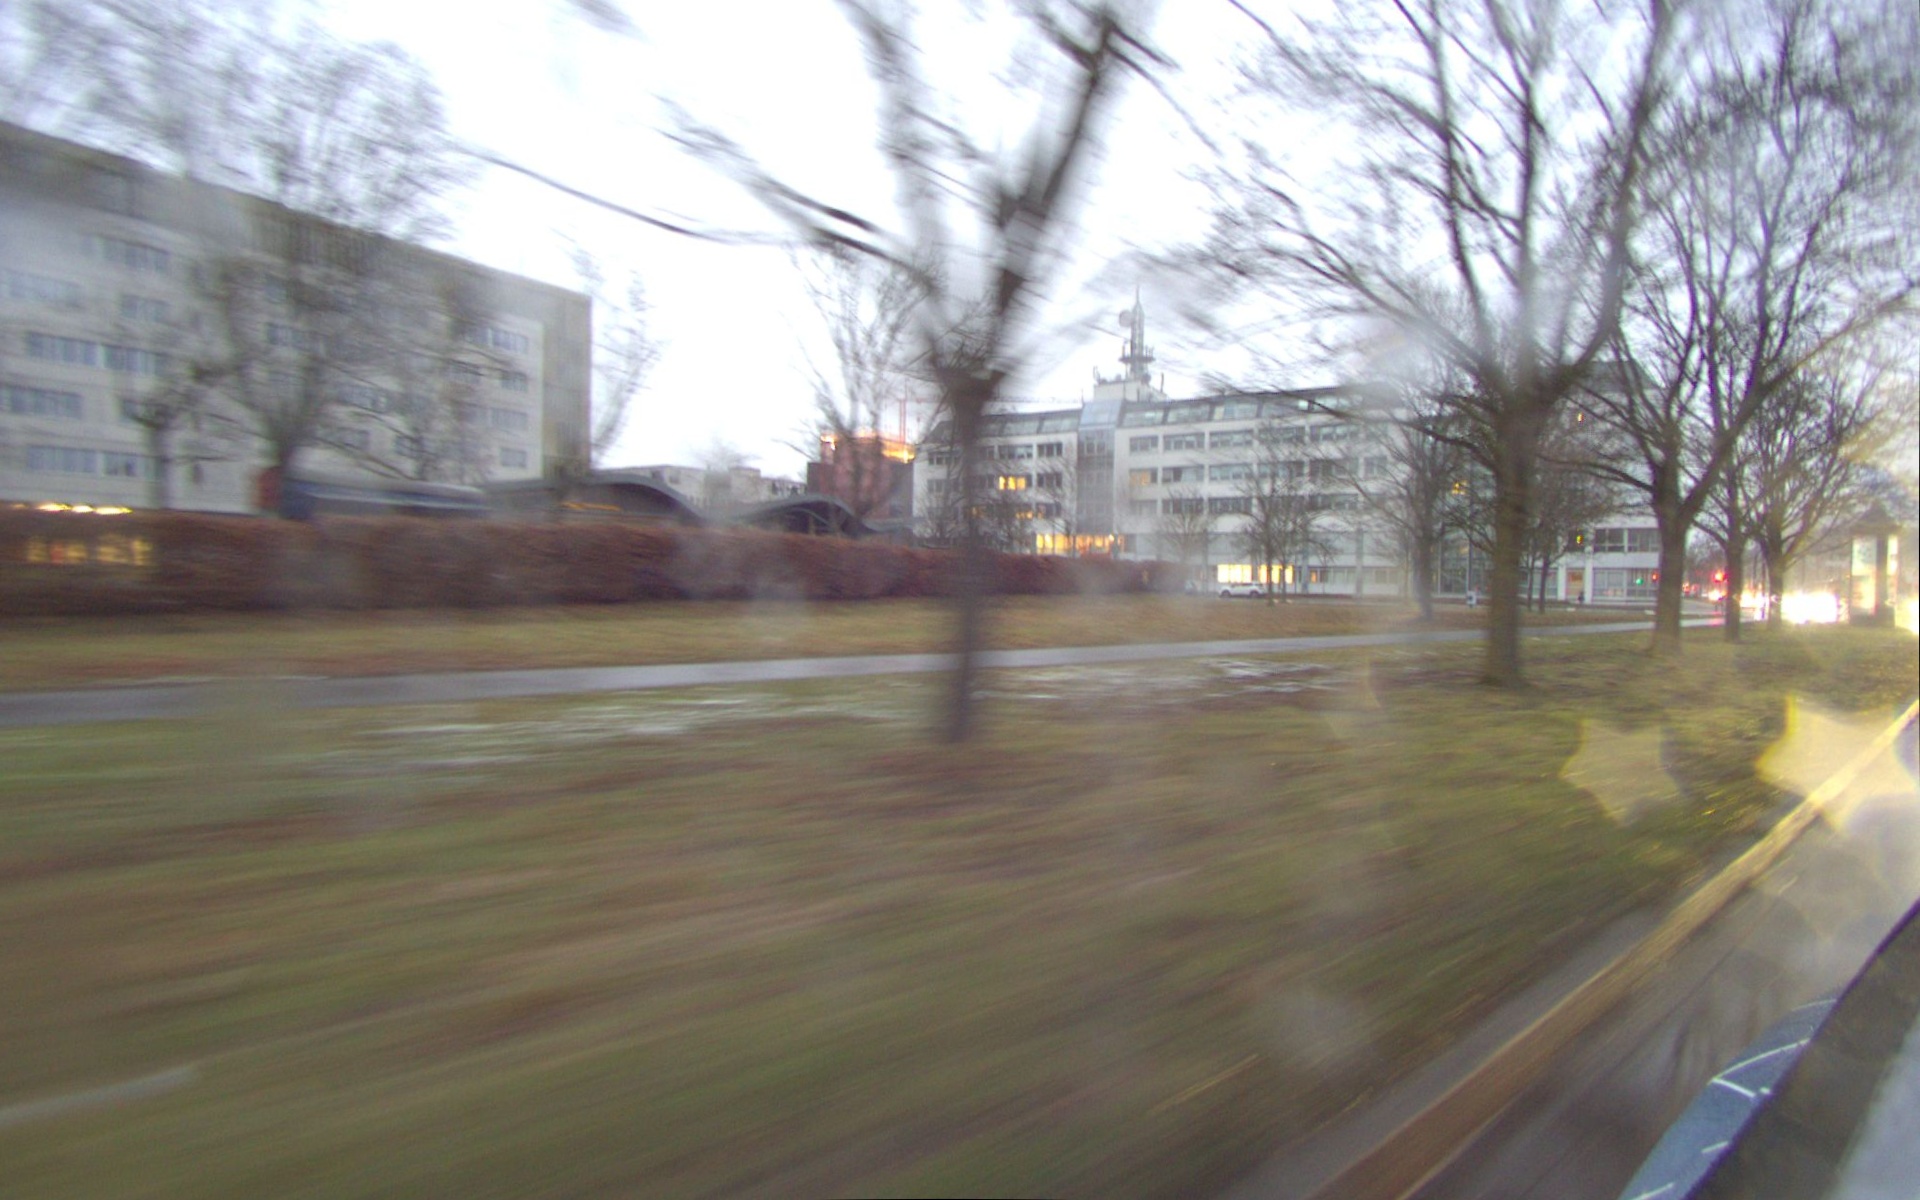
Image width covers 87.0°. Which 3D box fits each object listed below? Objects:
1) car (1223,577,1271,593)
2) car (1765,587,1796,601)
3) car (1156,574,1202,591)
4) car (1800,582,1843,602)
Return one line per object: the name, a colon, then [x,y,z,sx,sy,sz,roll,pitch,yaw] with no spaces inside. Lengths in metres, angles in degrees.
car: [27.386,-1.474,96.614,4.131,1.456,1.883,2,1,31]
car: [82.041,-0.638,101.250,1.986,1.340,3.953,2,2,33]
car: [22.059,-1.735,101.742,4.114,1.652,1.979,2,1,31]
car: [68.519,-0.625,80.562,1.935,1.575,4.170,0,0,32]
